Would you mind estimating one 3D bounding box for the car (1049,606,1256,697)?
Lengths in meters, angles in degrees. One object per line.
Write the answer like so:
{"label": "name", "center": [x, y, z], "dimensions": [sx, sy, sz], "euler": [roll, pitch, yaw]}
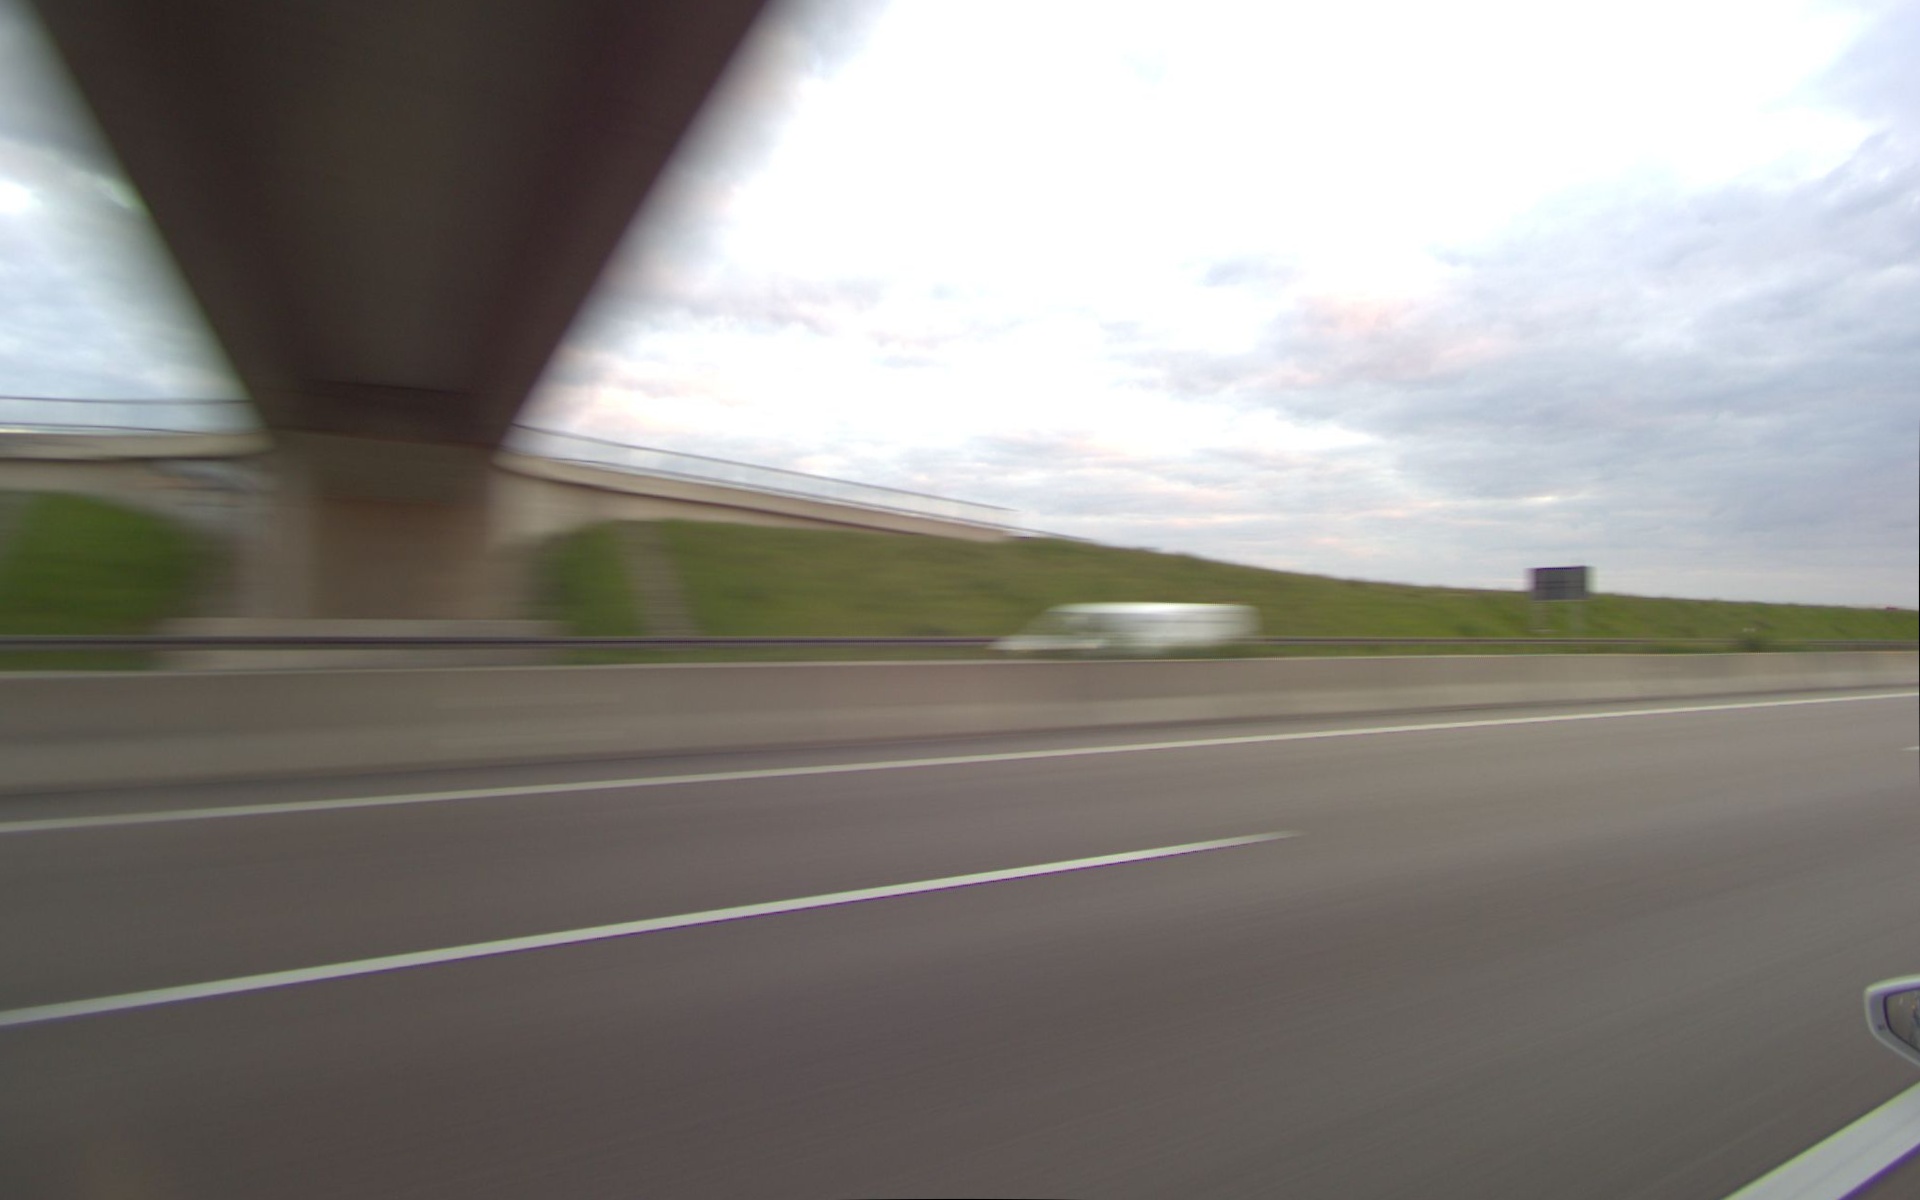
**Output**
{"label": "car", "center": [4.641, 1.188, 23.975], "dimensions": [4.837, 1.961, 1.814], "euler": [1, 0, -31]}
